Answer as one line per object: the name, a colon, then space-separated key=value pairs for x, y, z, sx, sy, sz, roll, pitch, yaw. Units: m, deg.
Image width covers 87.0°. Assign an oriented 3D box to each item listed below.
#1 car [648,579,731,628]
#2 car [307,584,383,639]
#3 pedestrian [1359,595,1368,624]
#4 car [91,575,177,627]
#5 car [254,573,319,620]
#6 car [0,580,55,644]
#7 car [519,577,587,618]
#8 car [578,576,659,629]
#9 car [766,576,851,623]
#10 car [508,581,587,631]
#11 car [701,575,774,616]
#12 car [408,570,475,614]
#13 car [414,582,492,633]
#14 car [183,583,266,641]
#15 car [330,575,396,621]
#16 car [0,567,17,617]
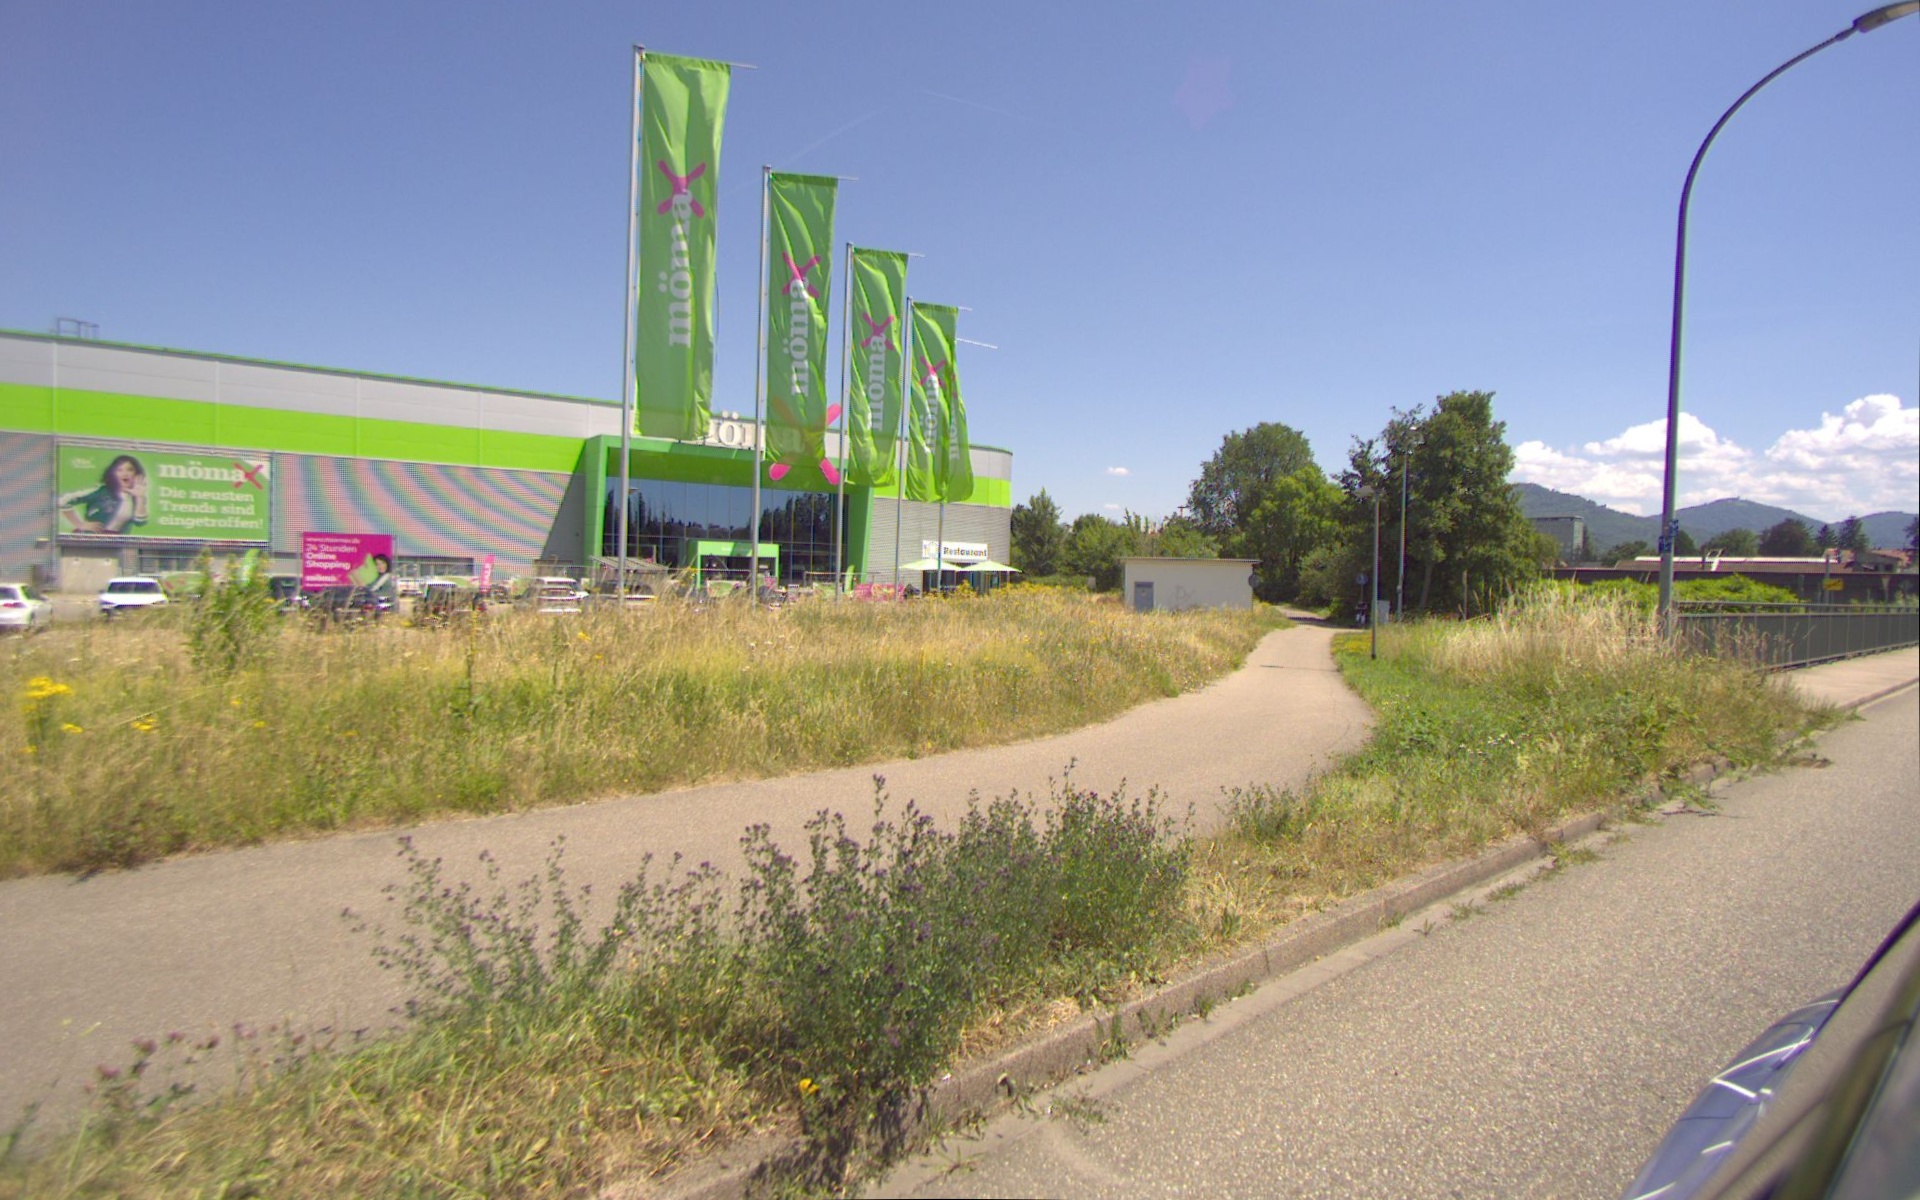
car: x=-10.566 y=0.079 z=39.357 sx=1.879 sy=1.674 sz=4.002 roll=-1 pitch=3 yaw=-34
car: x=-19.788 y=0.308 z=32.494 sx=1.910 sy=1.479 sz=4.002 roll=-1 pitch=3 yaw=-34
pedestrian: x=21.733 y=0.520 z=54.550 sx=0.433 sy=1.558 sz=0.410 roll=1 pitch=-2 yaw=24
car: x=-28.173 y=-0.018 z=34.624 sx=1.910 sy=1.523 sz=4.002 roll=-1 pitch=3 yaw=-34
car: x=-25.033 y=-0.184 z=37.604 sx=1.910 sy=1.523 sz=4.002 roll=-1 pitch=3 yaw=-34
car: x=-26.697 y=0.289 z=27.999 sx=1.910 sy=1.549 sz=4.002 roll=-1 pitch=3 yaw=-34
car: x=-17.426 y=-0.169 z=43.208 sx=1.910 sy=1.523 sz=4.002 roll=-1 pitch=3 yaw=-34
car: x=-12.783 y=0.031 z=37.756 sx=1.879 sy=1.717 sz=4.002 roll=-1 pitch=3 yaw=-34
car: x=-6.226 y=-0.052 z=41.171 sx=1.879 sy=1.674 sz=4.002 roll=-1 pitch=3 yaw=-34
car: x=-15.001 y=0.159 z=36.674 sx=1.879 sy=1.566 sz=4.002 roll=-1 pitch=3 yaw=-34
car: x=-10.130 y=-0.244 z=45.914 sx=1.879 sy=1.674 sz=4.002 roll=-1 pitch=3 yaw=-34
car: x=-20.783 y=-0.361 z=40.475 sx=1.910 sy=1.523 sz=4.002 roll=-1 pitch=3 yaw=-34
car: x=-17.432 y=0.212 z=34.699 sx=1.879 sy=1.479 sz=4.002 roll=-1 pitch=3 yaw=-34
car: x=-22.386 y=0.296 z=30.916 sx=1.910 sy=1.479 sz=4.002 roll=-1 pitch=3 yaw=-34
car: x=-22.820 y=-0.138 z=38.606 sx=1.910 sy=1.523 sz=4.002 roll=-1 pitch=3 yaw=-34
car: x=-31.861 y=-0.242 z=32.346 sx=1.910 sy=1.523 sz=4.002 roll=-1 pitch=3 yaw=-34
